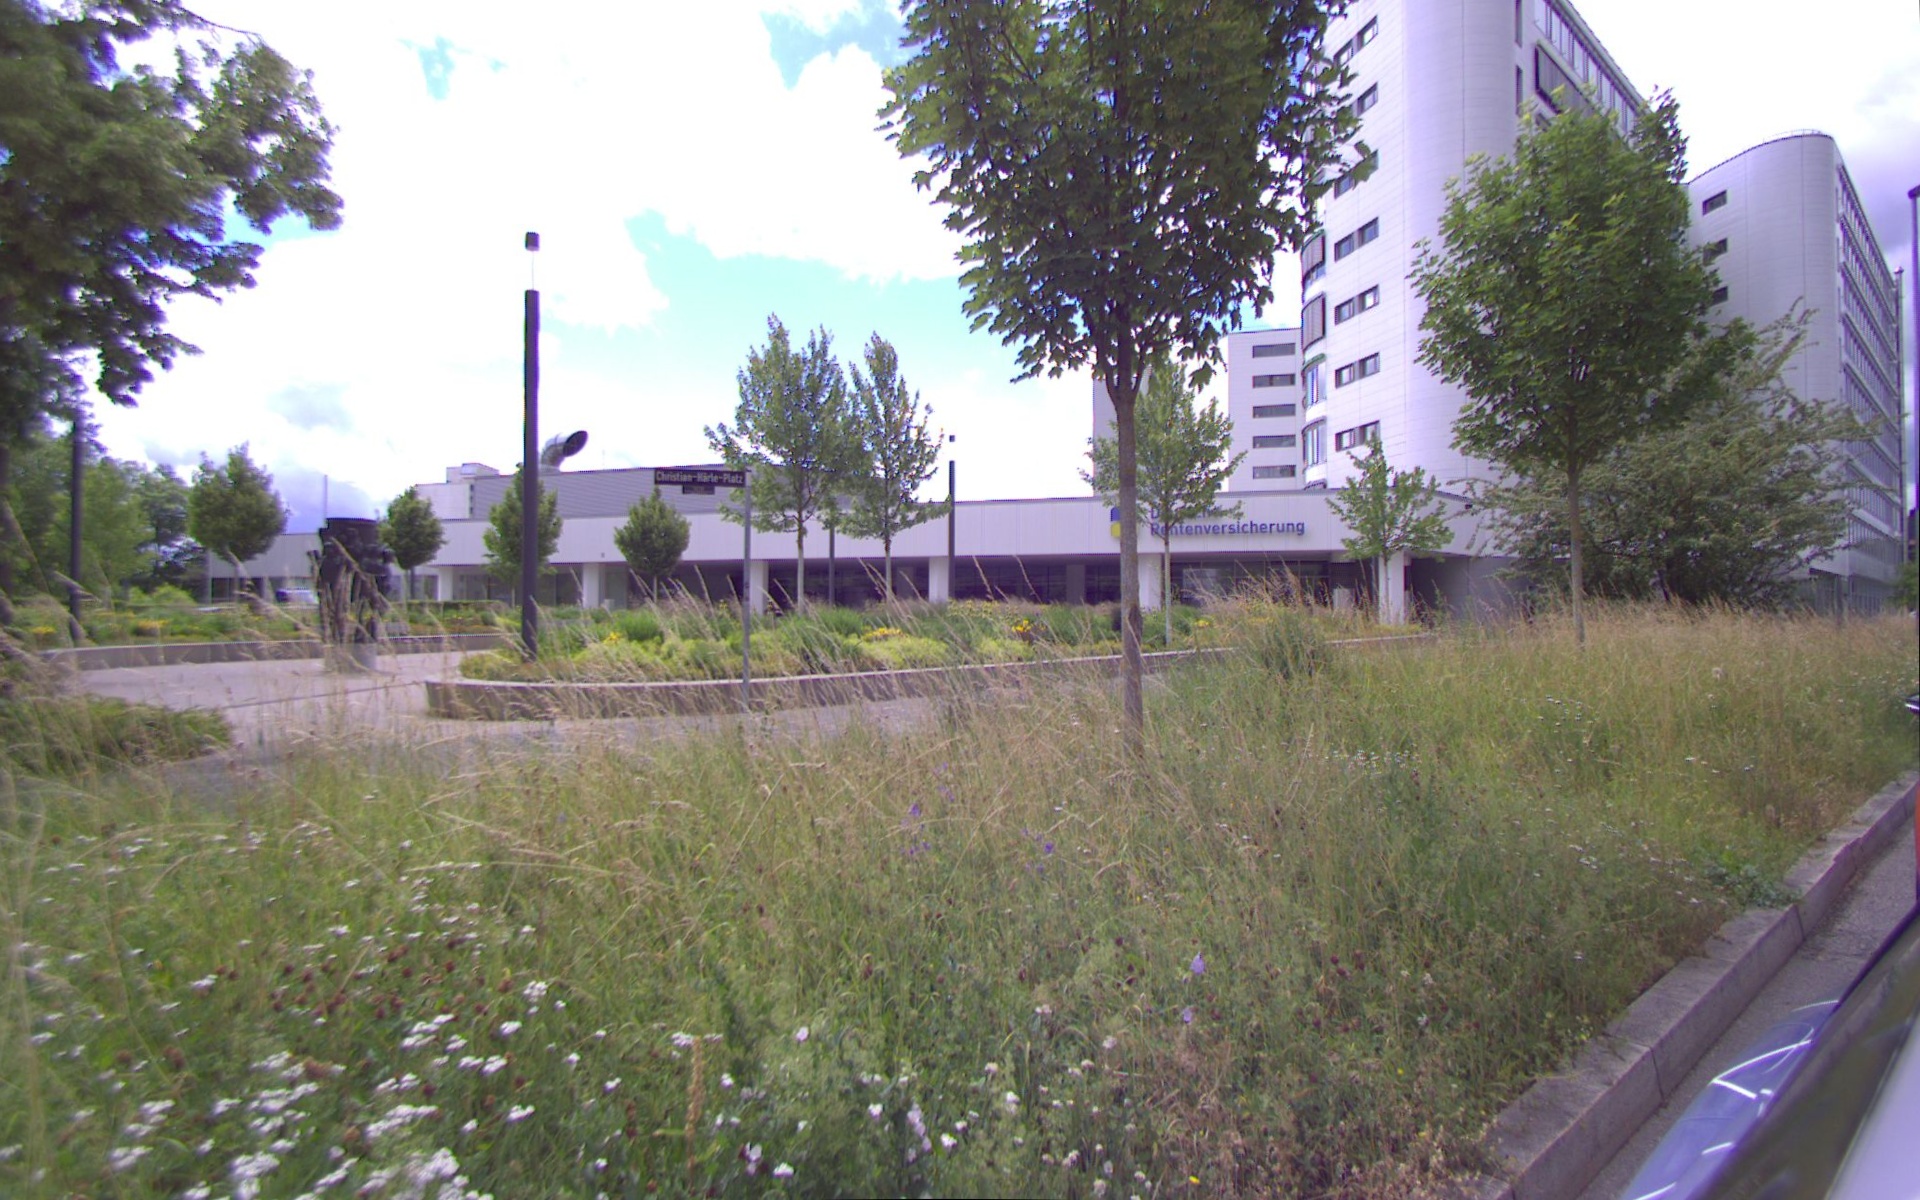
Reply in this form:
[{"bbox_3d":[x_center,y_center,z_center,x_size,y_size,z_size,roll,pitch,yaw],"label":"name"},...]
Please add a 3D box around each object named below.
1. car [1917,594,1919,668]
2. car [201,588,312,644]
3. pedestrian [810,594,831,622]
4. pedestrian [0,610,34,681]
[{"bbox_3d":[22.619,0.693,22.469,3.386,1.594,1.736,0,0,-42],"label":"car"},{"bbox_3d":[-23.371,0.507,33.608,3.470,1.788,1.622,0,0,27],"label":"car"},{"bbox_3d":[-6.484,0.360,47.065,0.869,1.290,0.704,1,0,2],"label":"pedestrian"},{"bbox_3d":[-17.457,0.829,18.666,0.560,1.278,0.581,0,0,-43],"label":"pedestrian"}]
